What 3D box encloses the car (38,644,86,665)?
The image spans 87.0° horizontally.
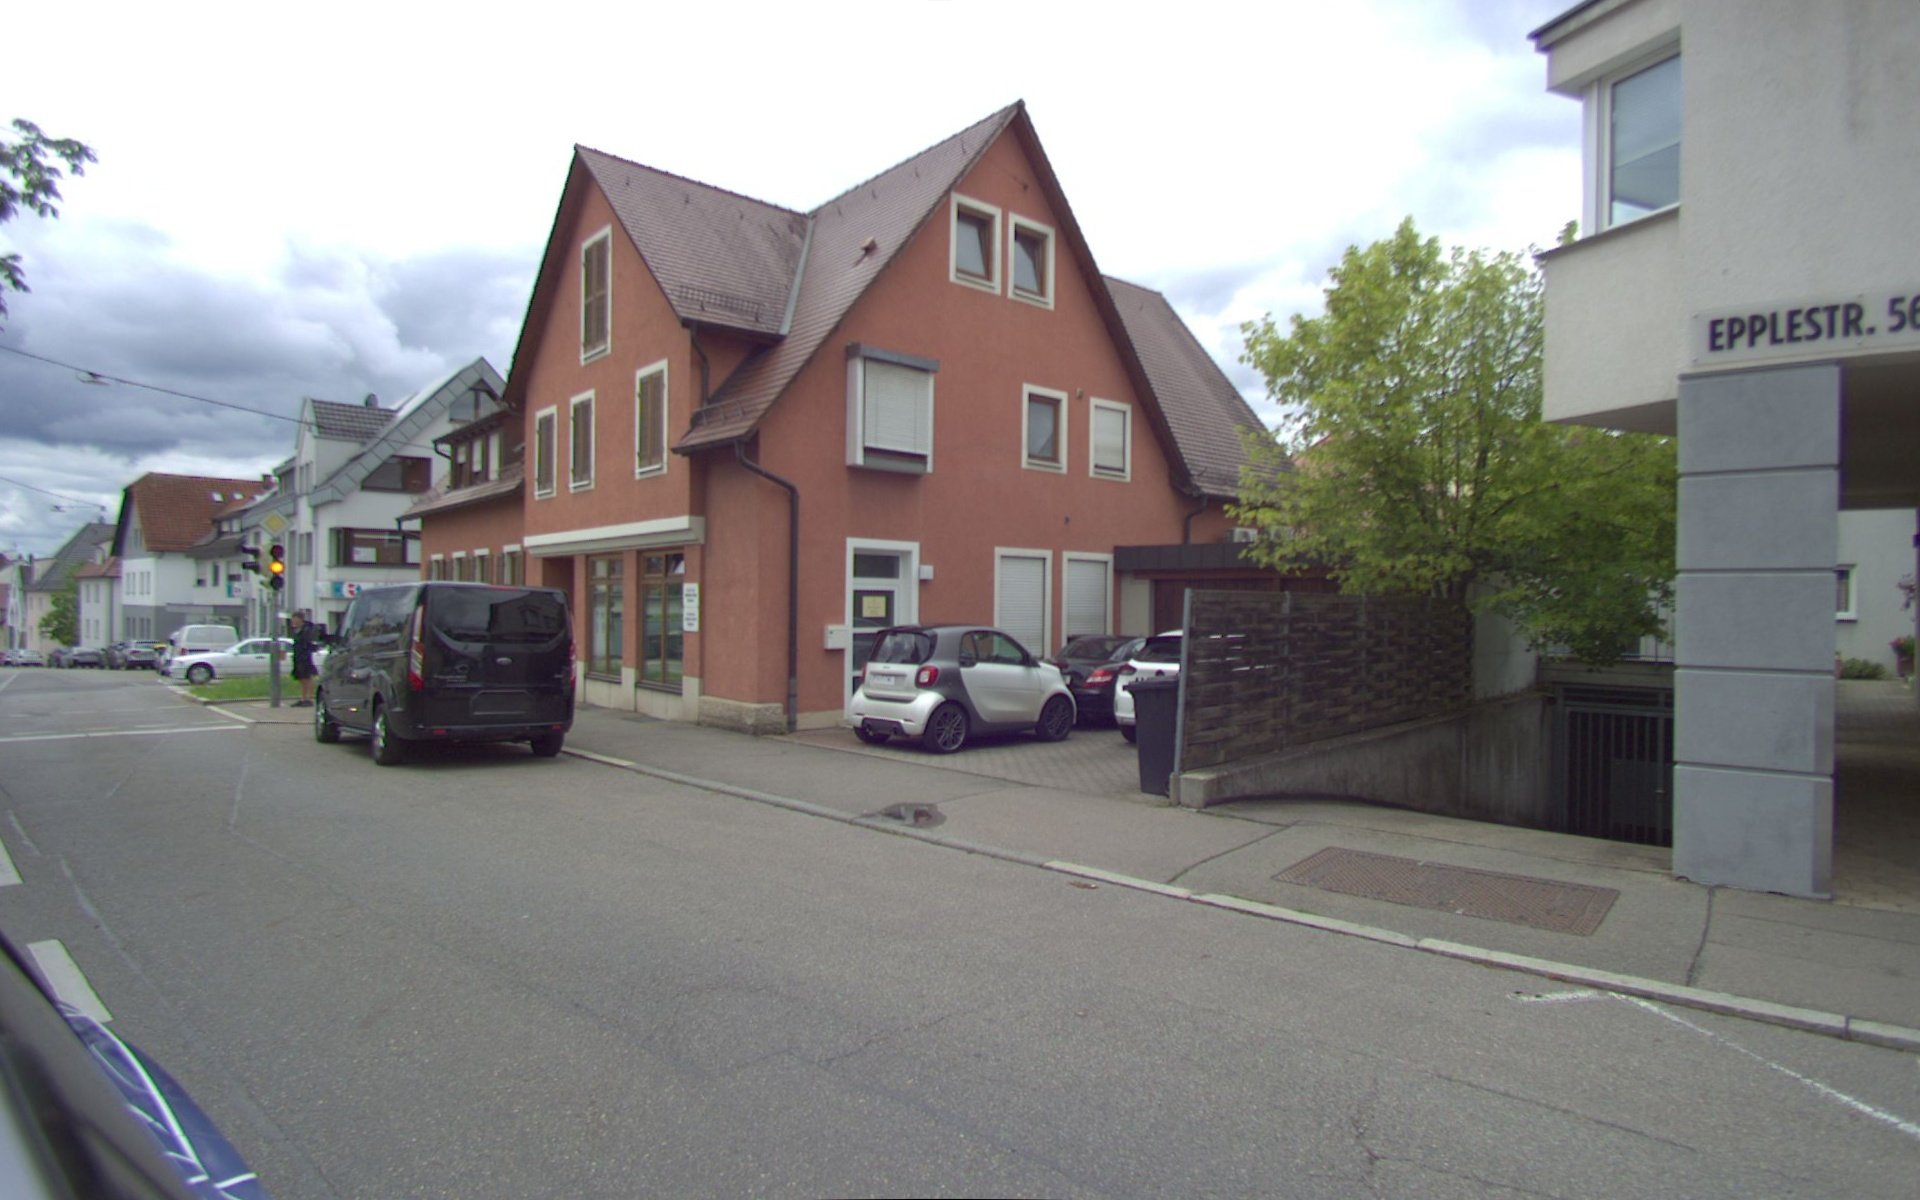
[{"bbox_3d":[-64.127,3.894,72.229,3.994,1.456,1.820,-3,-4,38],"label":"car"}]

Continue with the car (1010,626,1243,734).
[{"bbox_3d":[2.590,1.111,15.335,3.549,1.358,1.709,0,-1,-44],"label":"car"}]

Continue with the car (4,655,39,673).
[{"bbox_3d":[-77.156,5.232,83.160,3.808,1.458,1.632,-3,-4,40],"label":"car"}]

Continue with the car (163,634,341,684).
[{"bbox_3d":[-22.404,1.857,32.124,4.494,1.456,2.004,2,-4,-38],"label":"car"}]

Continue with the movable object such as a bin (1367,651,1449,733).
[{"bbox_3d":[5.916,1.200,13.382,0.795,1.026,0.658,-3,-3,43],"label":"movable object such as a bin"}]

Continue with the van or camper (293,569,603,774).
[{"bbox_3d":[-6.466,0.775,12.467,2.049,2.021,4.862,3,-3,-43],"label":"van or camper"}]

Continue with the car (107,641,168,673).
[{"bbox_3d":[-45.047,3.119,55.423,4.405,1.645,1.818,-3,-4,41],"label":"car"}]

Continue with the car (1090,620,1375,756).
[{"bbox_3d":[3.672,1.022,13.277,3.937,1.486,1.745,0,-1,-42],"label":"car"}]

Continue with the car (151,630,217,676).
[{"bbox_3d":[-32.865,2.237,42.805,1.713,1.846,4.301,3,-5,-43],"label":"car"}]

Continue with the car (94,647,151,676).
[{"bbox_3d":[-49.276,3.633,59.521,4.405,1.645,1.818,-3,-4,41],"label":"car"}]

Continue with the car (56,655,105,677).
[{"bbox_3d":[-59.402,4.451,68.303,4.464,1.456,1.818,-3,-4,40],"label":"car"}]

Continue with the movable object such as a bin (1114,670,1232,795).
[{"bbox_3d":[1.904,1.156,9.080,0.795,1.026,0.658,-3,-3,43],"label":"movable object such as a bin"}]

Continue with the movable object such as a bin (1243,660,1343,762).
[{"bbox_3d":[3.568,1.165,10.867,0.795,1.026,0.658,-3,-3,43],"label":"movable object such as a bin"}]

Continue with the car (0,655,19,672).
[{"bbox_3d":[-81.533,5.422,86.271,3.773,1.458,1.631,-3,-4,42],"label":"car"}]

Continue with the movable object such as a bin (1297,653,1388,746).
[{"bbox_3d":[4.520,1.152,11.963,0.795,1.026,0.658,-3,-3,43],"label":"movable object such as a bin"}]

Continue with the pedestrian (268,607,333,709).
[{"bbox_3d":[-12.150,1.045,18.632,0.879,1.798,0.804,0,-2,-42],"label":"pedestrian"}]

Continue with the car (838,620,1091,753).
[{"bbox_3d":[0.088,1.006,12.991,2.794,1.486,1.745,0,-1,-41],"label":"car"}]

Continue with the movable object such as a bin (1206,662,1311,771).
[{"bbox_3d":[3.028,1.157,10.280,0.795,1.026,0.658,-3,-3,43],"label":"movable object such as a bin"}]

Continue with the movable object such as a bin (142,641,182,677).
[{"bbox_3d":[-37.177,2.761,47.137,1.562,1.645,1.128,-3,-4,40],"label":"movable object such as a bin"}]

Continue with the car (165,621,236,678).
[{"bbox_3d":[-29.039,1.909,38.636,1.789,2.021,4.769,3,-4,-41],"label":"car"}]

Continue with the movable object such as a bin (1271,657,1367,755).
[{"bbox_3d":[4.041,1.169,11.398,0.795,1.026,0.658,-3,-3,43],"label":"movable object such as a bin"}]
